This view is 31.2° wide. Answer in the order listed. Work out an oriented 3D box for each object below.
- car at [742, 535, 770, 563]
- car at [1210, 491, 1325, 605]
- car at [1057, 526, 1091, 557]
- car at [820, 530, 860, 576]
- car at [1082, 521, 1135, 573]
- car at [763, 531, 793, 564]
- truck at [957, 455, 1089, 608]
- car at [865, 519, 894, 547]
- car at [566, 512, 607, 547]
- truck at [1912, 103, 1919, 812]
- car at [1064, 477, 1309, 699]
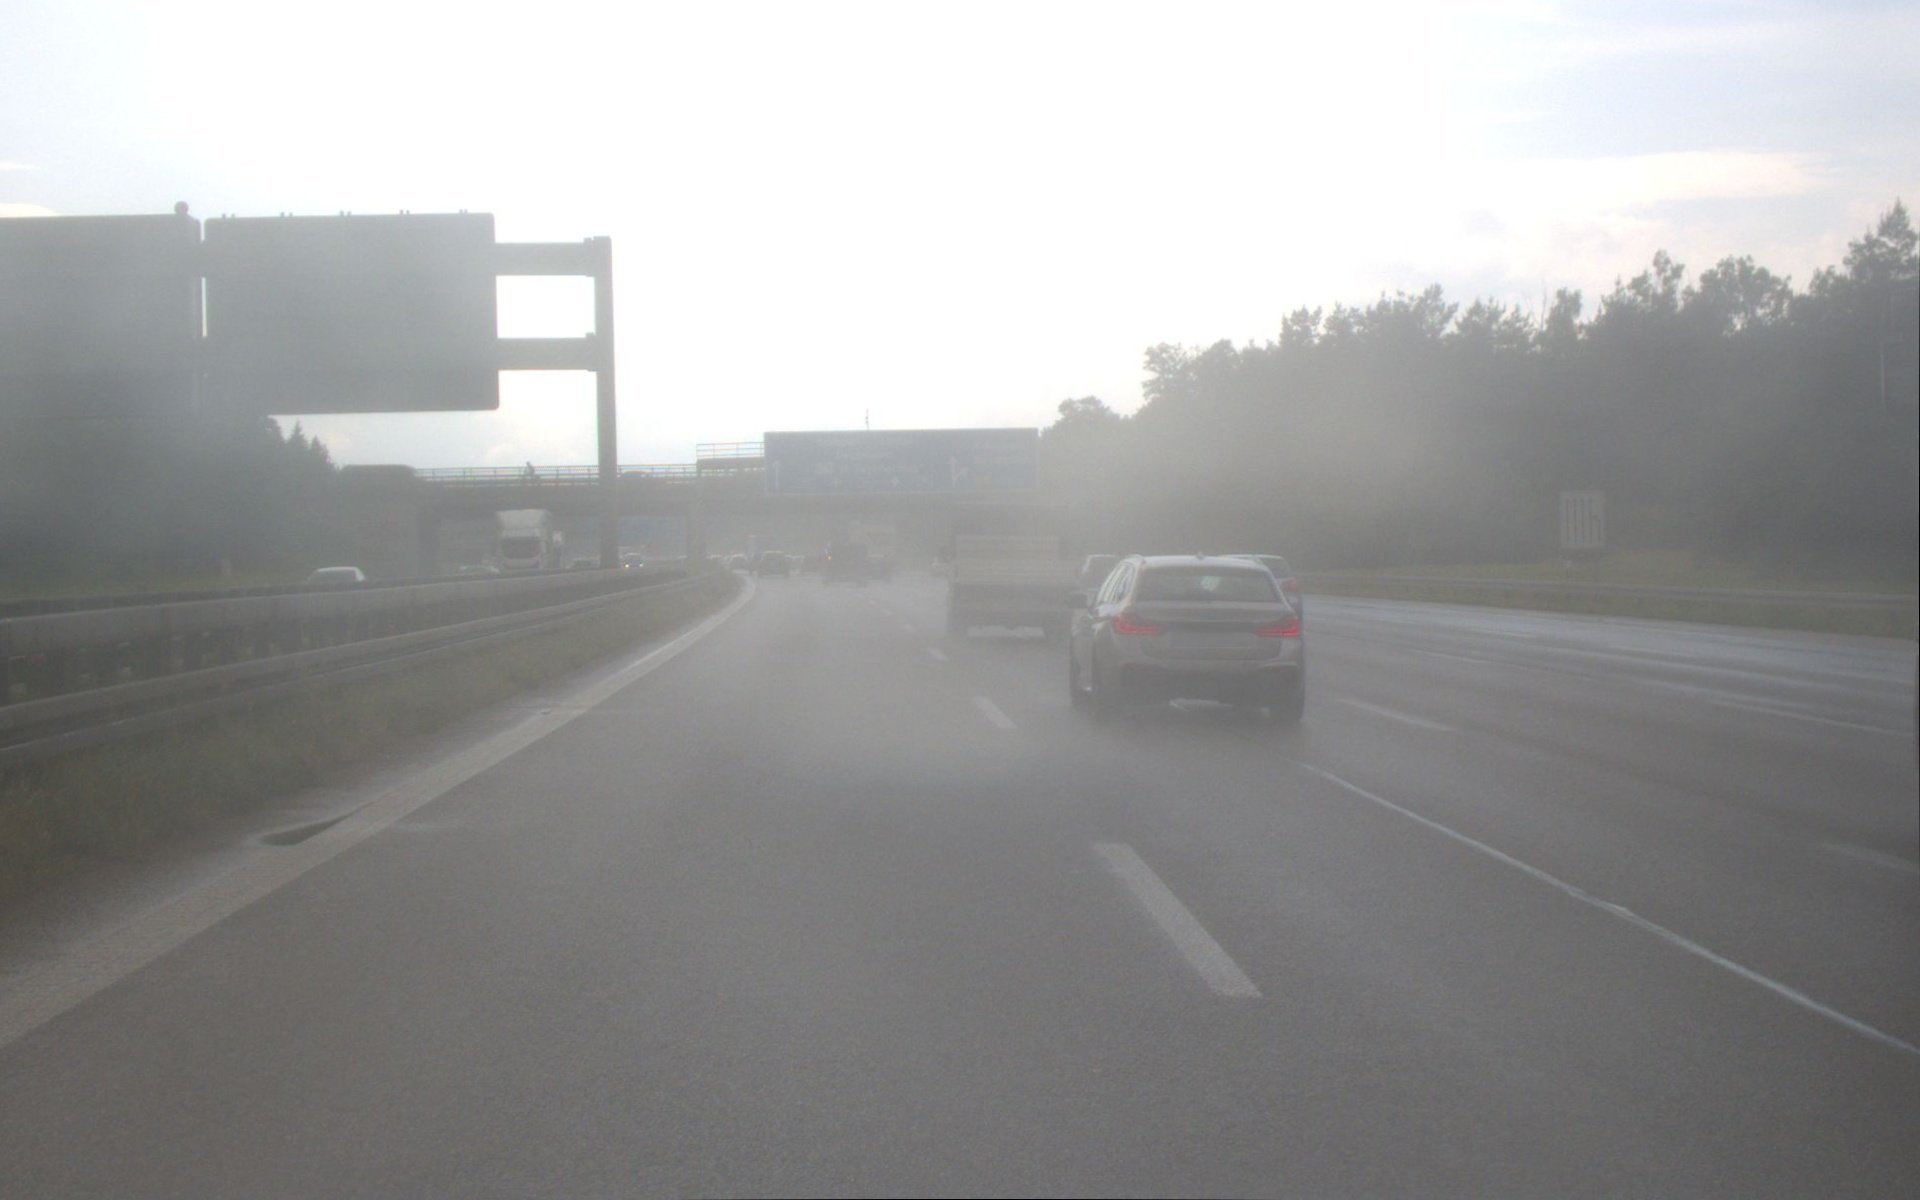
[{"bbox_3d":[-15.494,-3.903,261.668,1.795,2.007,4.000,1,1,1],"label":"car"},{"bbox_3d":[5.591,-0.967,62.924,1.908,2.007,4.000,0,1,3],"label":"car"},{"bbox_3d":[6.380,-3.299,193.008,1.741,1.683,4.000,0,1,-1],"label":"car"},{"bbox_3d":[-5.349,-2.110,153.825,1.674,2.007,4.000,1,1,-1],"label":"car"},{"bbox_3d":[5.898,-2.122,136.415,1.994,2.007,4.000,1,1,3],"label":"car"},{"bbox_3d":[-11.208,-3.251,211.875,1.617,2.007,4.000,1,1,-1],"label":"car"},{"bbox_3d":[1.106,-1.180,58.619,2.137,2.480,5.313,0,1,2],"label":"truck"},{"bbox_3d":[-5.805,-4.858,248.640,1.993,2.007,4.000,1,1,-1],"label":"car"},{"bbox_3d":[-21.489,-4.071,197.794,1.993,2.007,4.000,0,1,-1],"label":"car"},{"bbox_3d":[6.394,-0.720,16.118,2.293,3.854,5.392,0,1,-1],"label":"truck"},{"bbox_3d":[2.069,-0.162,31.843,2.078,1.878,5.011,0,1,3],"label":"car"}]
